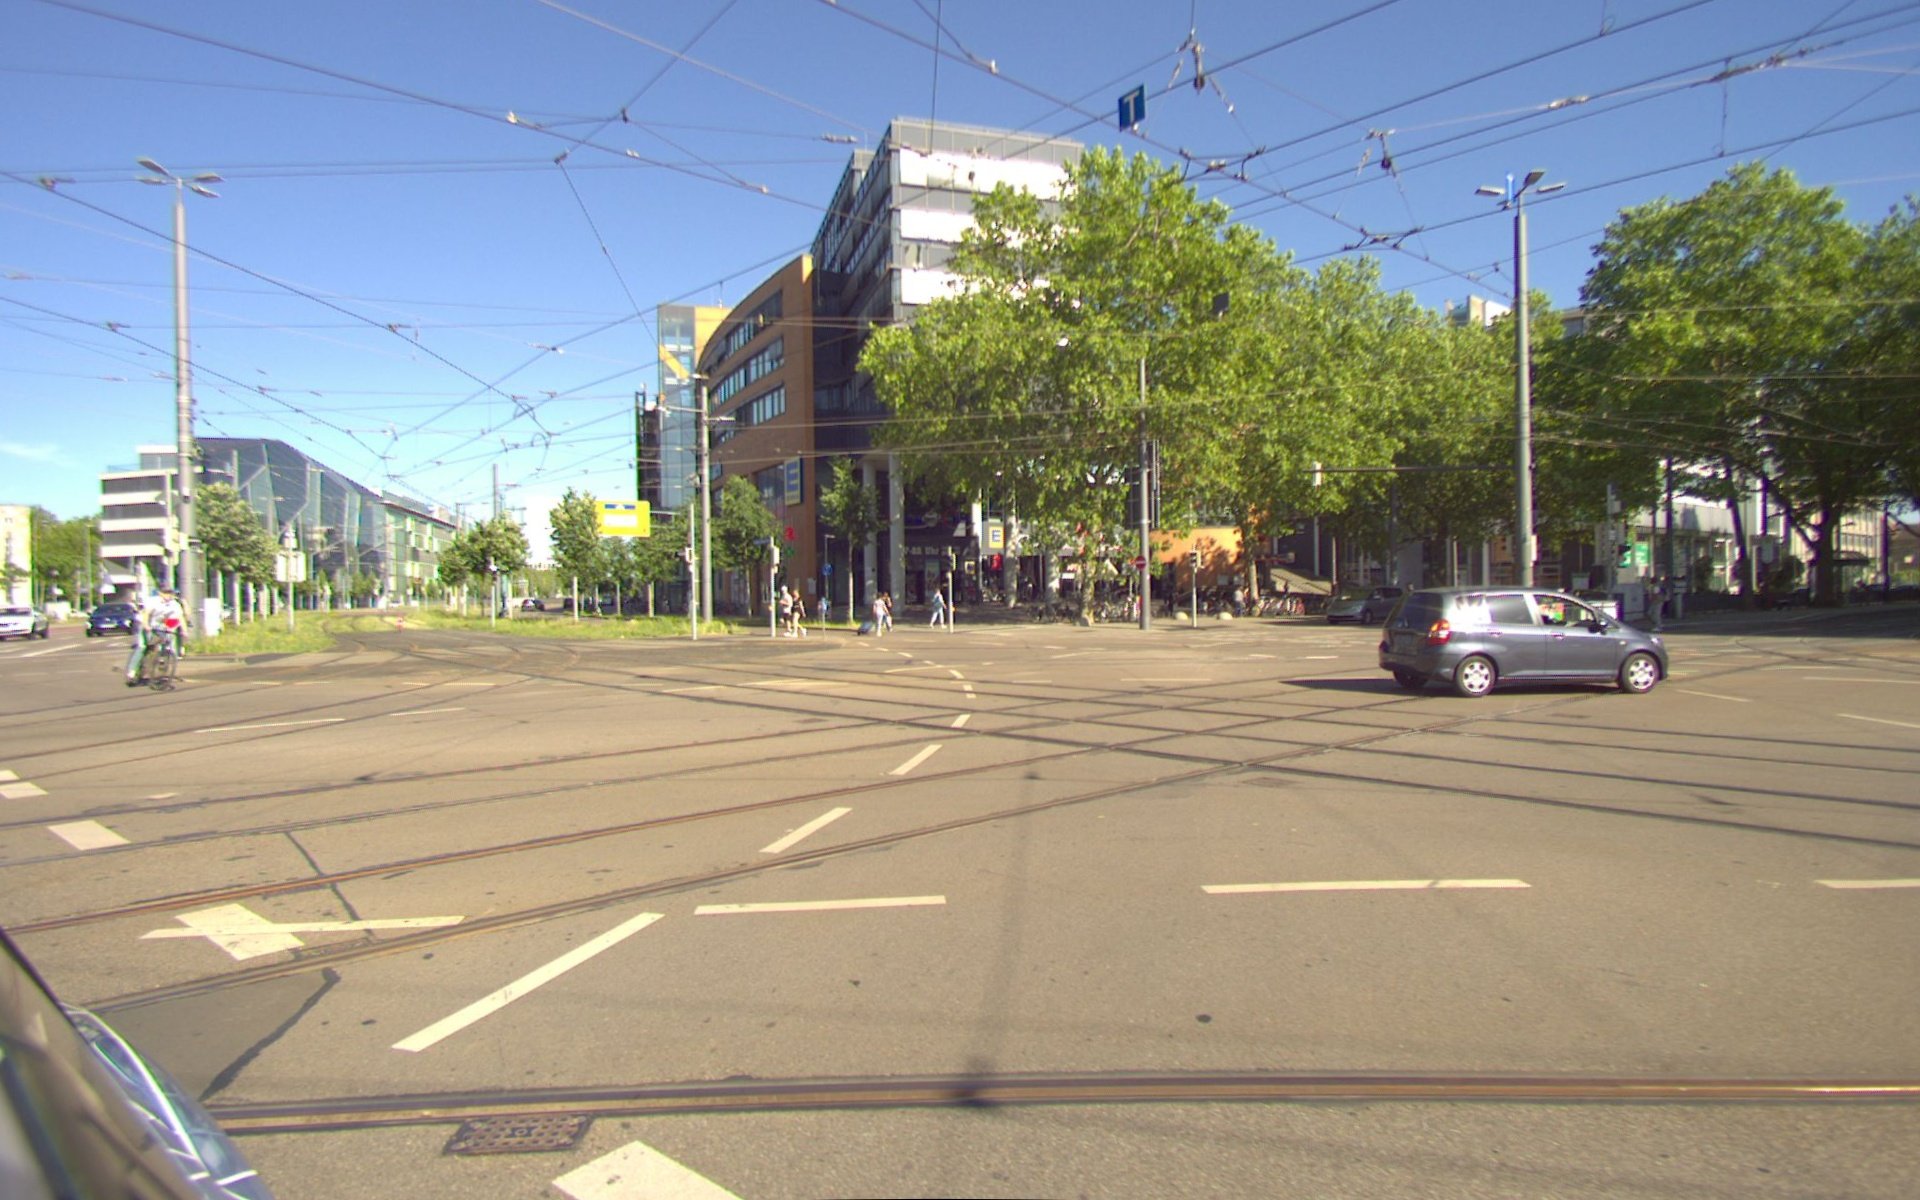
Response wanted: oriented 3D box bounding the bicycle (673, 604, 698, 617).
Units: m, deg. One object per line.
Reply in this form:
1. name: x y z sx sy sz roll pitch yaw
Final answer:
1. bicycle: -25.593 0.938 94.494 2.142 1.131 0.756 -2 0 -24

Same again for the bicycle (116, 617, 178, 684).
1. bicycle: -14.634 0.875 18.184 0.678 1.077 2.700 -3 1 -42

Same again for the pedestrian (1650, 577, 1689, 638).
1. pedestrian: 22.927 0.250 32.712 0.905 1.947 0.693 -1 0 44

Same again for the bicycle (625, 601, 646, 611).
1. bicycle: -35.038 0.628 109.212 2.142 0.961 0.494 -2 0 -24

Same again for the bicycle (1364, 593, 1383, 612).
1. bicycle: 29.671 0.163 72.540 0.466 1.363 2.338 -1 0 43

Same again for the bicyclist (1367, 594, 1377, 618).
1. bicyclist: 29.389 0.437 72.224 0.466 1.734 0.478 -1 0 43

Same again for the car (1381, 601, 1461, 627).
1. car: 22.607 0.651 49.565 3.933 1.152 1.786 -1 0 -34

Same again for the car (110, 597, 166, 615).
1. car: -93.594 0.693 115.263 4.574 1.997 1.881 -1 0 -20

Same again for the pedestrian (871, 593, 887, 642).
1. pedestrian: -3.057 0.647 38.179 0.461 1.845 0.383 -1 0 25

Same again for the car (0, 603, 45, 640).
1. car: -43.880 0.972 46.715 1.844 1.642 4.350 -1 0 -34

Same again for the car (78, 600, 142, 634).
1. car: -41.260 0.788 49.210 1.843 1.568 4.011 -1 0 -33

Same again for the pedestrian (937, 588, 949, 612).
1. pedestrian: -1.186 -0.012 70.935 0.499 1.636 0.790 -1 1 -33

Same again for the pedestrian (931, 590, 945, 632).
1. pedestrian: -0.983 0.490 45.172 0.455 1.845 0.459 -1 0 19

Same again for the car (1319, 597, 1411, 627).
1. car: 18.267 0.540 45.610 3.933 1.240 2.005 -1 0 -34

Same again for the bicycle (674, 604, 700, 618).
1. bicycle: -24.202 0.952 89.758 2.142 1.131 0.756 -2 0 -24

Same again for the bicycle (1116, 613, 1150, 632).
1. bicycle: 7.996 1.026 46.733 2.000 0.805 0.376 -1 0 -43

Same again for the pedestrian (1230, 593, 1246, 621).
1. pedestrian: 14.526 0.353 52.953 0.638 1.463 0.502 -1 0 -7

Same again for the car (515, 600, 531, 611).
1. car: -53.306 0.677 123.398 1.408 1.370 3.305 -1 0 -31

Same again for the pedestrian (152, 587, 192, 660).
1. pedestrian: -19.379 0.569 24.876 0.769 1.766 0.662 -1 0 44

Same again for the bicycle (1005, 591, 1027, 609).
1. bicycle: 3.755 -0.003 67.870 0.486 1.143 1.808 -1 0 -34

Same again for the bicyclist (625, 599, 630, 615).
1. bicyclist: -29.364 0.608 89.411 0.336 1.387 0.483 -1 1 -34

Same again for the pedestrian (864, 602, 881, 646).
1. pedestrian: -3.695 1.011 42.590 0.494 1.845 0.579 -1 0 19

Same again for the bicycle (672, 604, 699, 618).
1. bicycle: -24.587 0.963 90.623 2.142 1.131 0.756 -2 0 -24

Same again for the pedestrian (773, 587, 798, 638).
1. pedestrian: -6.398 0.446 37.107 0.750 1.845 0.626 -1 0 -28

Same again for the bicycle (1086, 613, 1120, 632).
1. bicycle: 6.708 1.049 47.364 2.000 0.805 0.376 -1 0 -43

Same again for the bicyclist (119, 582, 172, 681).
1. bicyclist: -14.524 0.549 18.031 0.610 1.682 1.021 -3 1 -43

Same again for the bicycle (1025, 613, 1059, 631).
1. bicycle: 4.061 1.067 49.946 2.000 0.805 0.376 -1 0 -43

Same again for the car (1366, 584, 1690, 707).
1. car: 7.926 0.600 14.328 3.621 1.576 1.734 -1 0 -5

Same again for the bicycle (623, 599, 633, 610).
1. bicycle: -29.335 0.420 89.383 0.348 0.933 1.900 -1 1 -34

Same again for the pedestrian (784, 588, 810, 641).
1. pedestrian: -5.762 0.518 35.737 0.750 1.845 0.627 -1 0 -24

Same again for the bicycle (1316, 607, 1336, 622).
1. bicycle: 20.321 0.821 56.135 0.445 0.788 1.473 -1 0 45

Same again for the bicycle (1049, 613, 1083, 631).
1. bicycle: 5.172 1.051 49.317 2.000 0.805 0.376 -1 0 -43

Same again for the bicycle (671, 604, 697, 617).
1. bicycle: -25.142 0.962 92.154 2.142 1.131 0.756 -2 0 -24

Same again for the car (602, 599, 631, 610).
1. car: -62.427 0.826 183.961 2.213 2.029 5.216 -1 0 22

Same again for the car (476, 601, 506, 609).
1. car: -69.734 0.749 150.565 3.931 1.098 2.007 -1 0 -22

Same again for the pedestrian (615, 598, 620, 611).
1. pedestrian: -40.032 0.511 118.166 0.483 1.530 0.651 -1 0 -14
